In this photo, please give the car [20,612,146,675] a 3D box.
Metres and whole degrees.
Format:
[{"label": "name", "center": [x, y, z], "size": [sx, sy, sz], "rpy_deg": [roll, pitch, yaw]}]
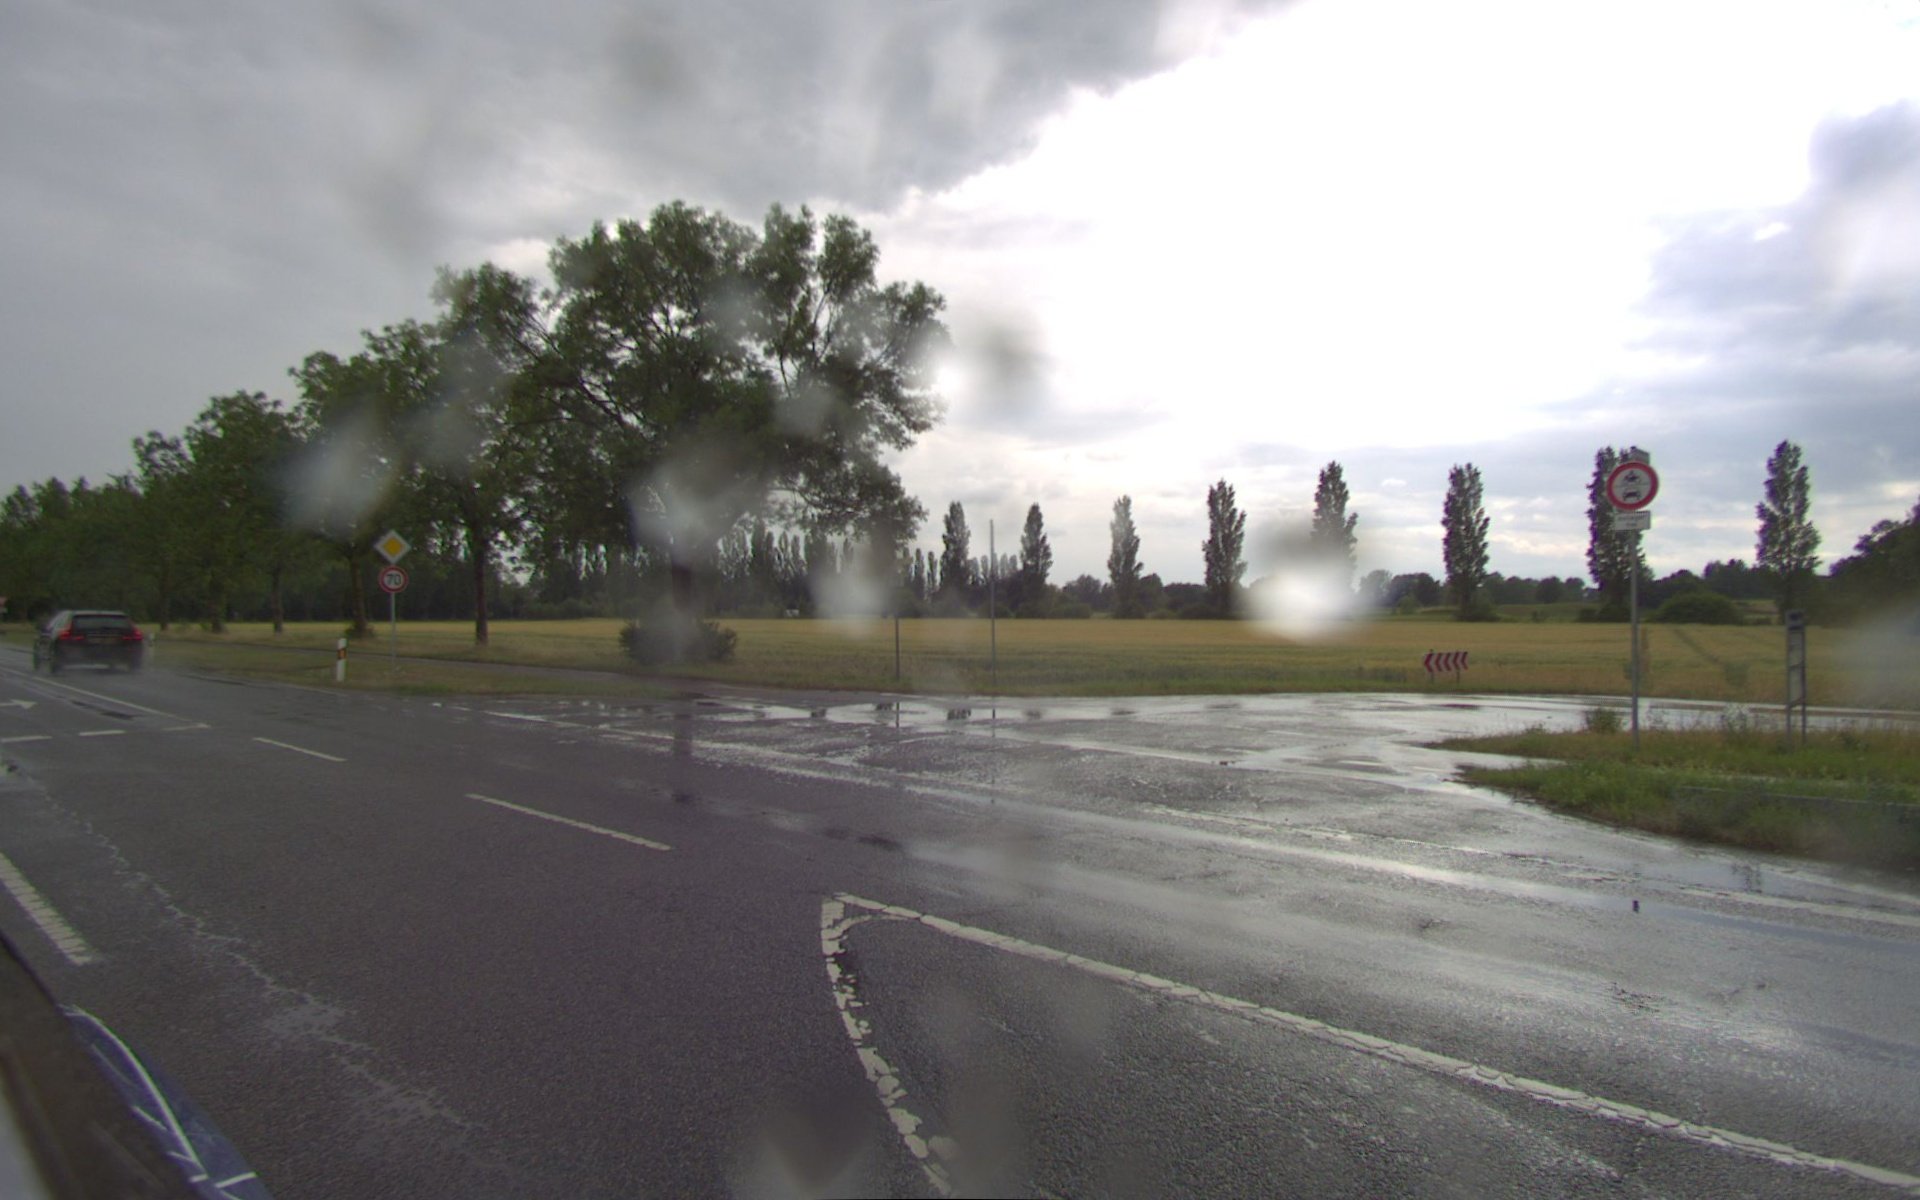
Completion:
[{"label": "car", "center": [-23.887, 1.153, 27.523], "size": [4.440, 1.592, 1.924], "rpy_deg": [-1, -2, 41]}]
